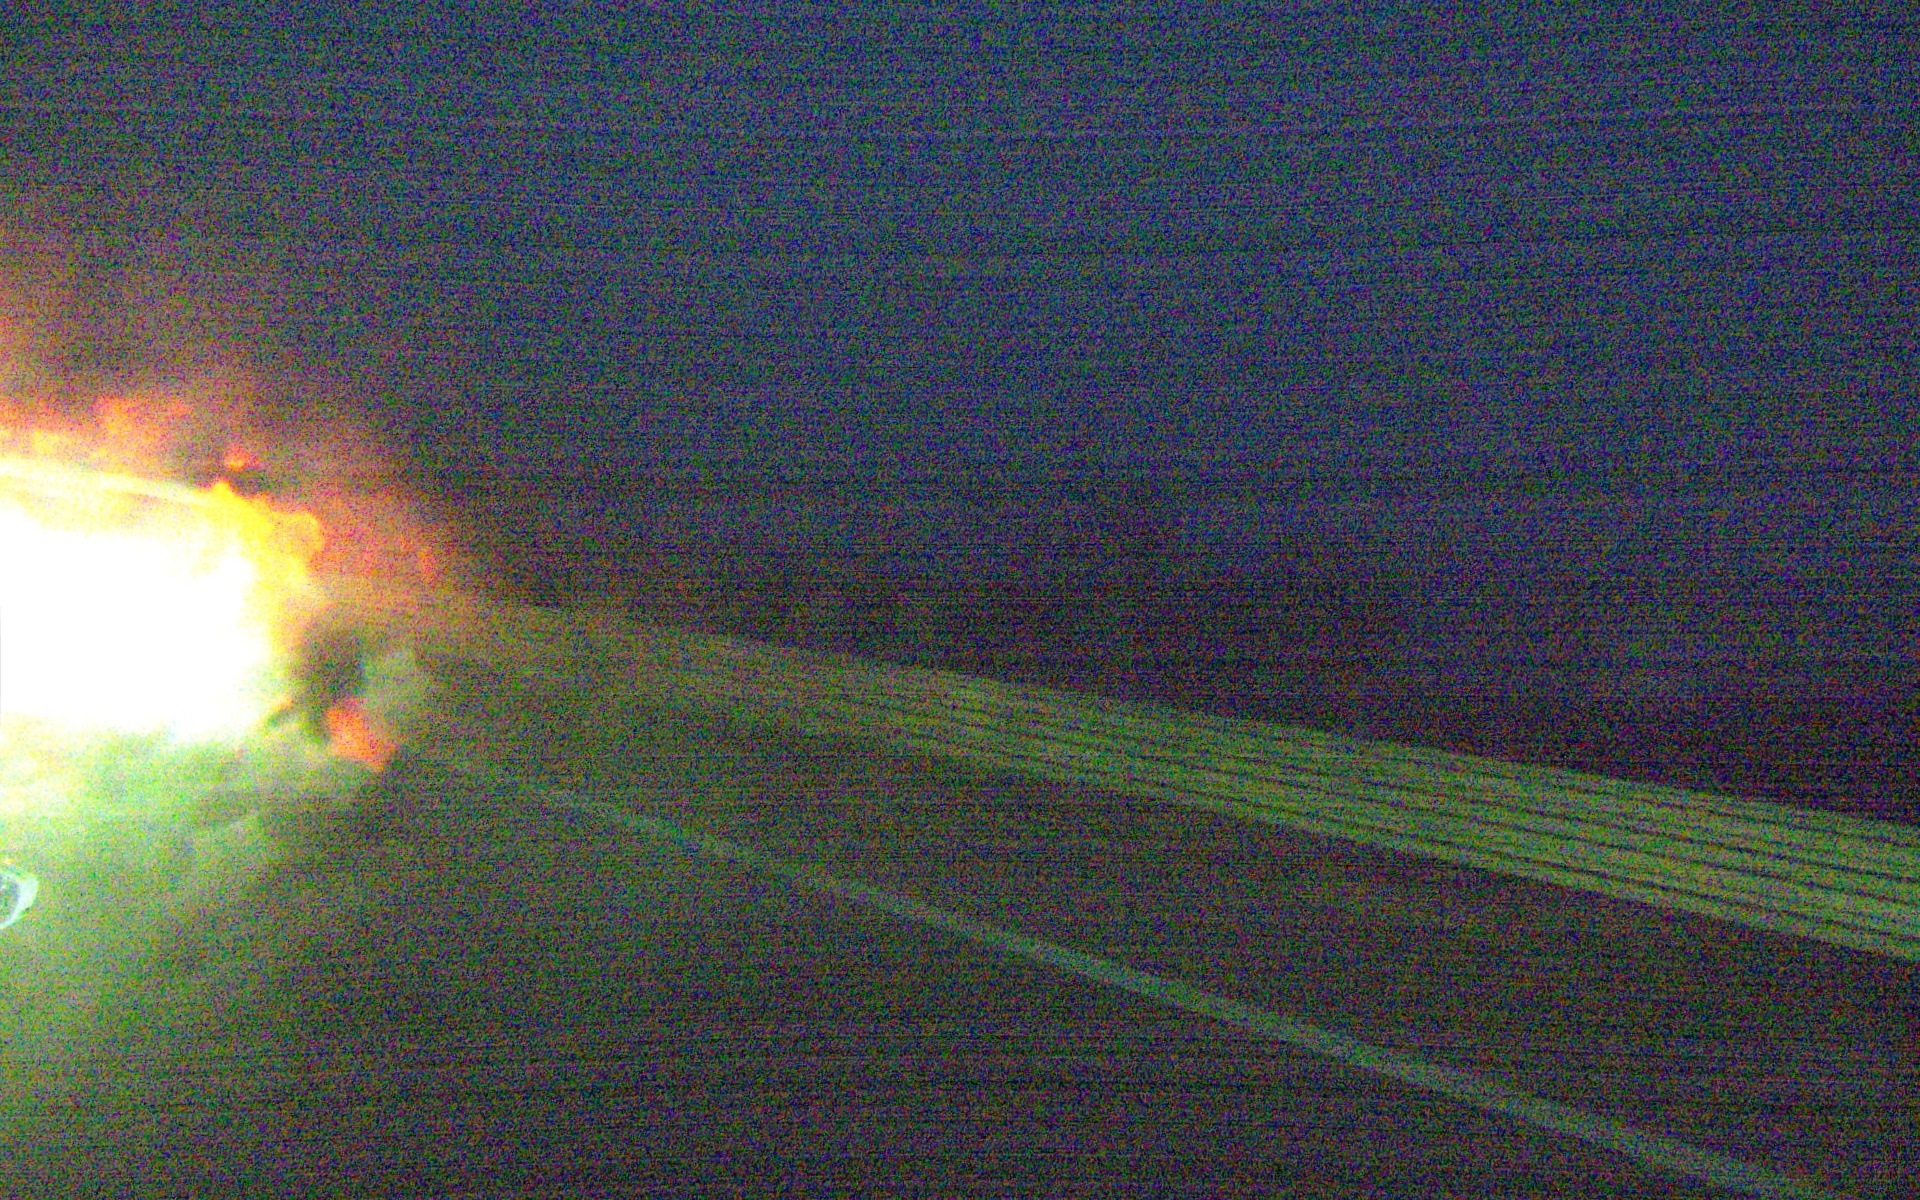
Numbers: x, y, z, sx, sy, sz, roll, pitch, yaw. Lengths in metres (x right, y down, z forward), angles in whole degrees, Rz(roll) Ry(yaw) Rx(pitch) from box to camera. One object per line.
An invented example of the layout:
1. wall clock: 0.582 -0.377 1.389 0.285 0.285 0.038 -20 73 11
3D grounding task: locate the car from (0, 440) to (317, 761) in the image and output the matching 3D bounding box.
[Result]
1. car: -7.218 -0.147 7.558 5.041 1.813 1.956 6 -2 33
